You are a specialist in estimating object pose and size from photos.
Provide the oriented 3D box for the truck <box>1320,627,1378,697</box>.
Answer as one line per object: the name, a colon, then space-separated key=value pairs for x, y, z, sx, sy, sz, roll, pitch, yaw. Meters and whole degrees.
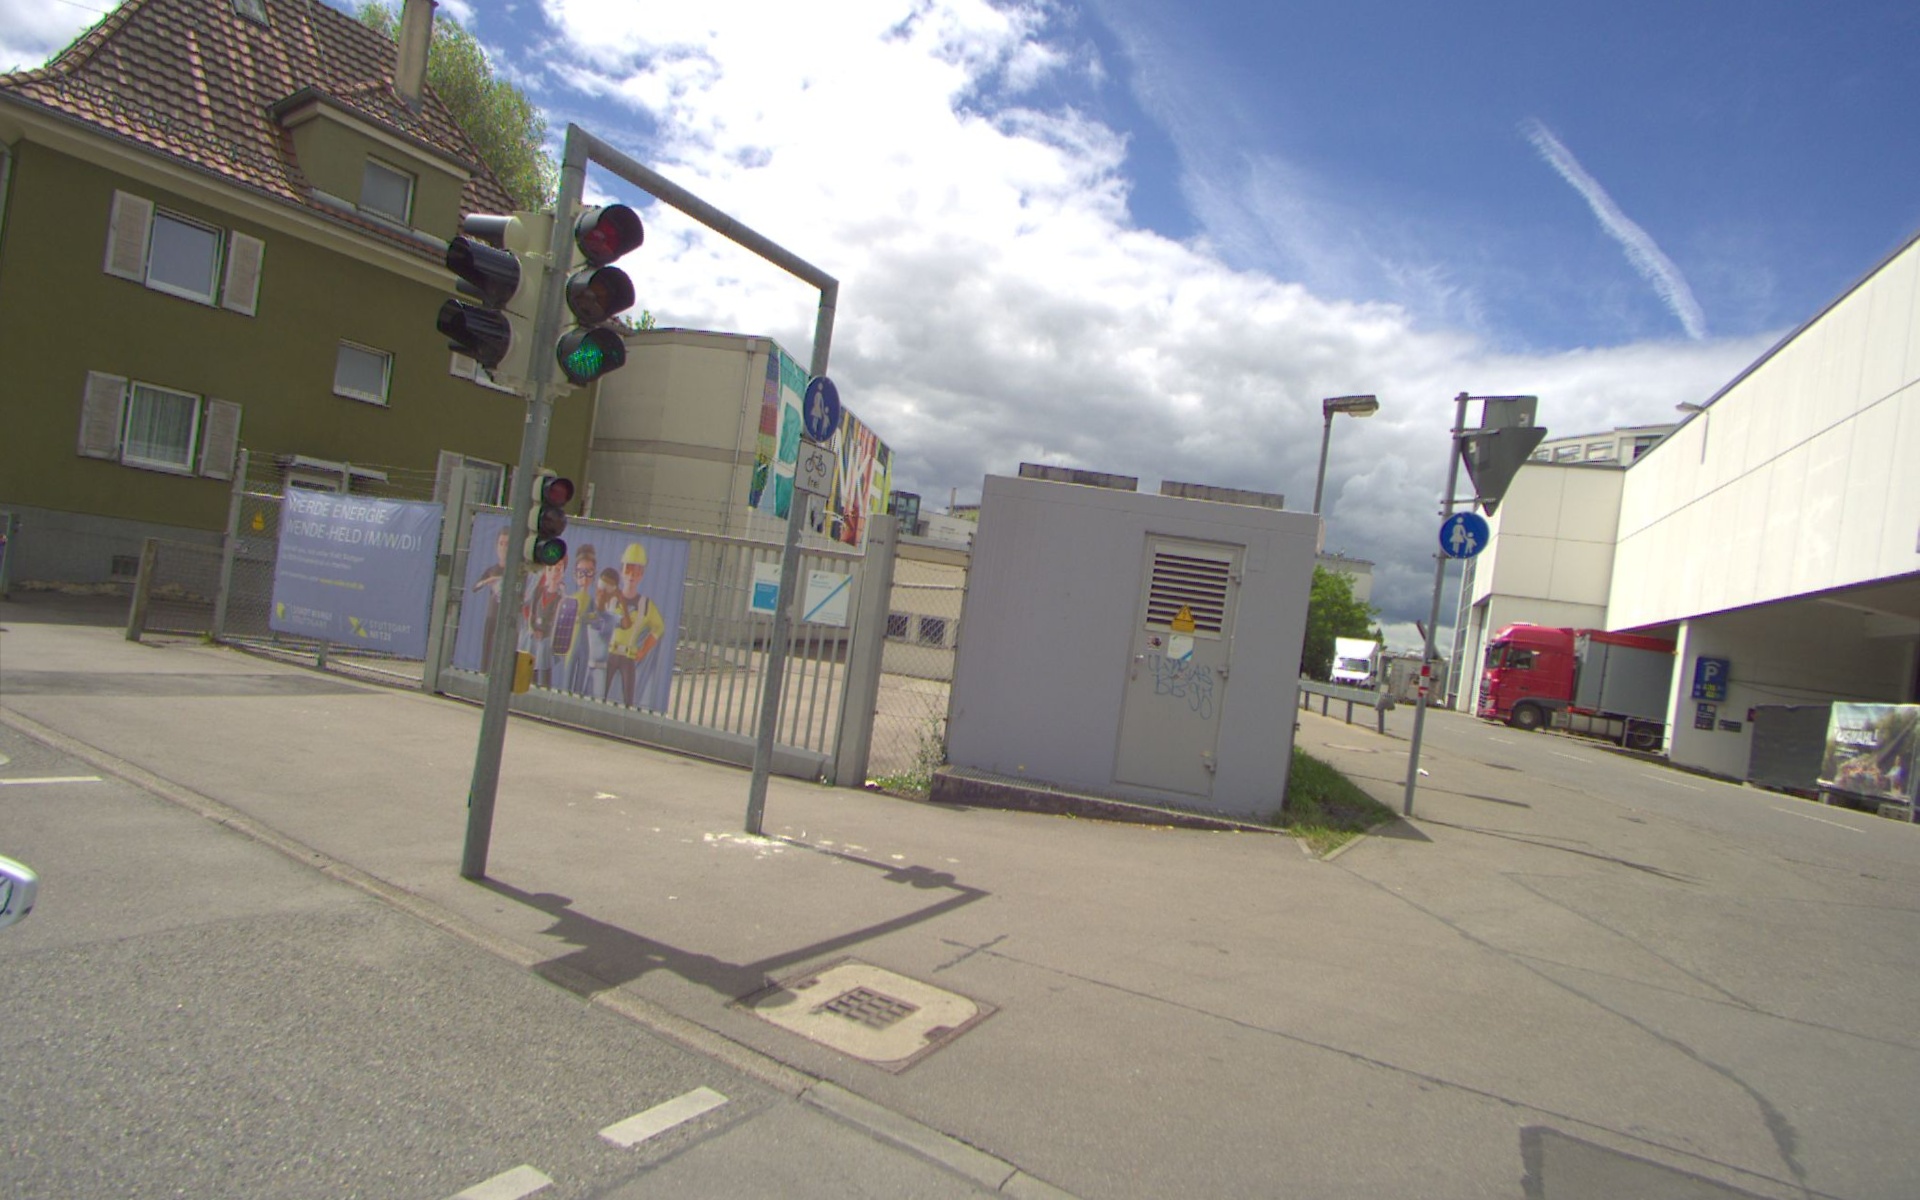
truck: x=21.729 y=3.542 z=55.919 sx=2.369 sy=3.264 sz=7.432 roll=7 pitch=-3 yaw=24

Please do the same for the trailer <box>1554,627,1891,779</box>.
trailer: x=26.802 y=3.561 z=35.952 sx=8.897 sy=3.906 sz=2.606 roll=7 pitch=-2 yaw=20

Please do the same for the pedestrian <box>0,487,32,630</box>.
pedestrian: x=-11.262 y=-0.528 z=11.342 sx=0.971 sy=1.591 sz=0.825 roll=7 pitch=0 yaw=30

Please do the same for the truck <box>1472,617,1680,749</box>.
truck: x=22.710 y=3.041 z=37.429 sx=5.795 sy=3.906 sz=2.606 roll=7 pitch=-2 yaw=20
